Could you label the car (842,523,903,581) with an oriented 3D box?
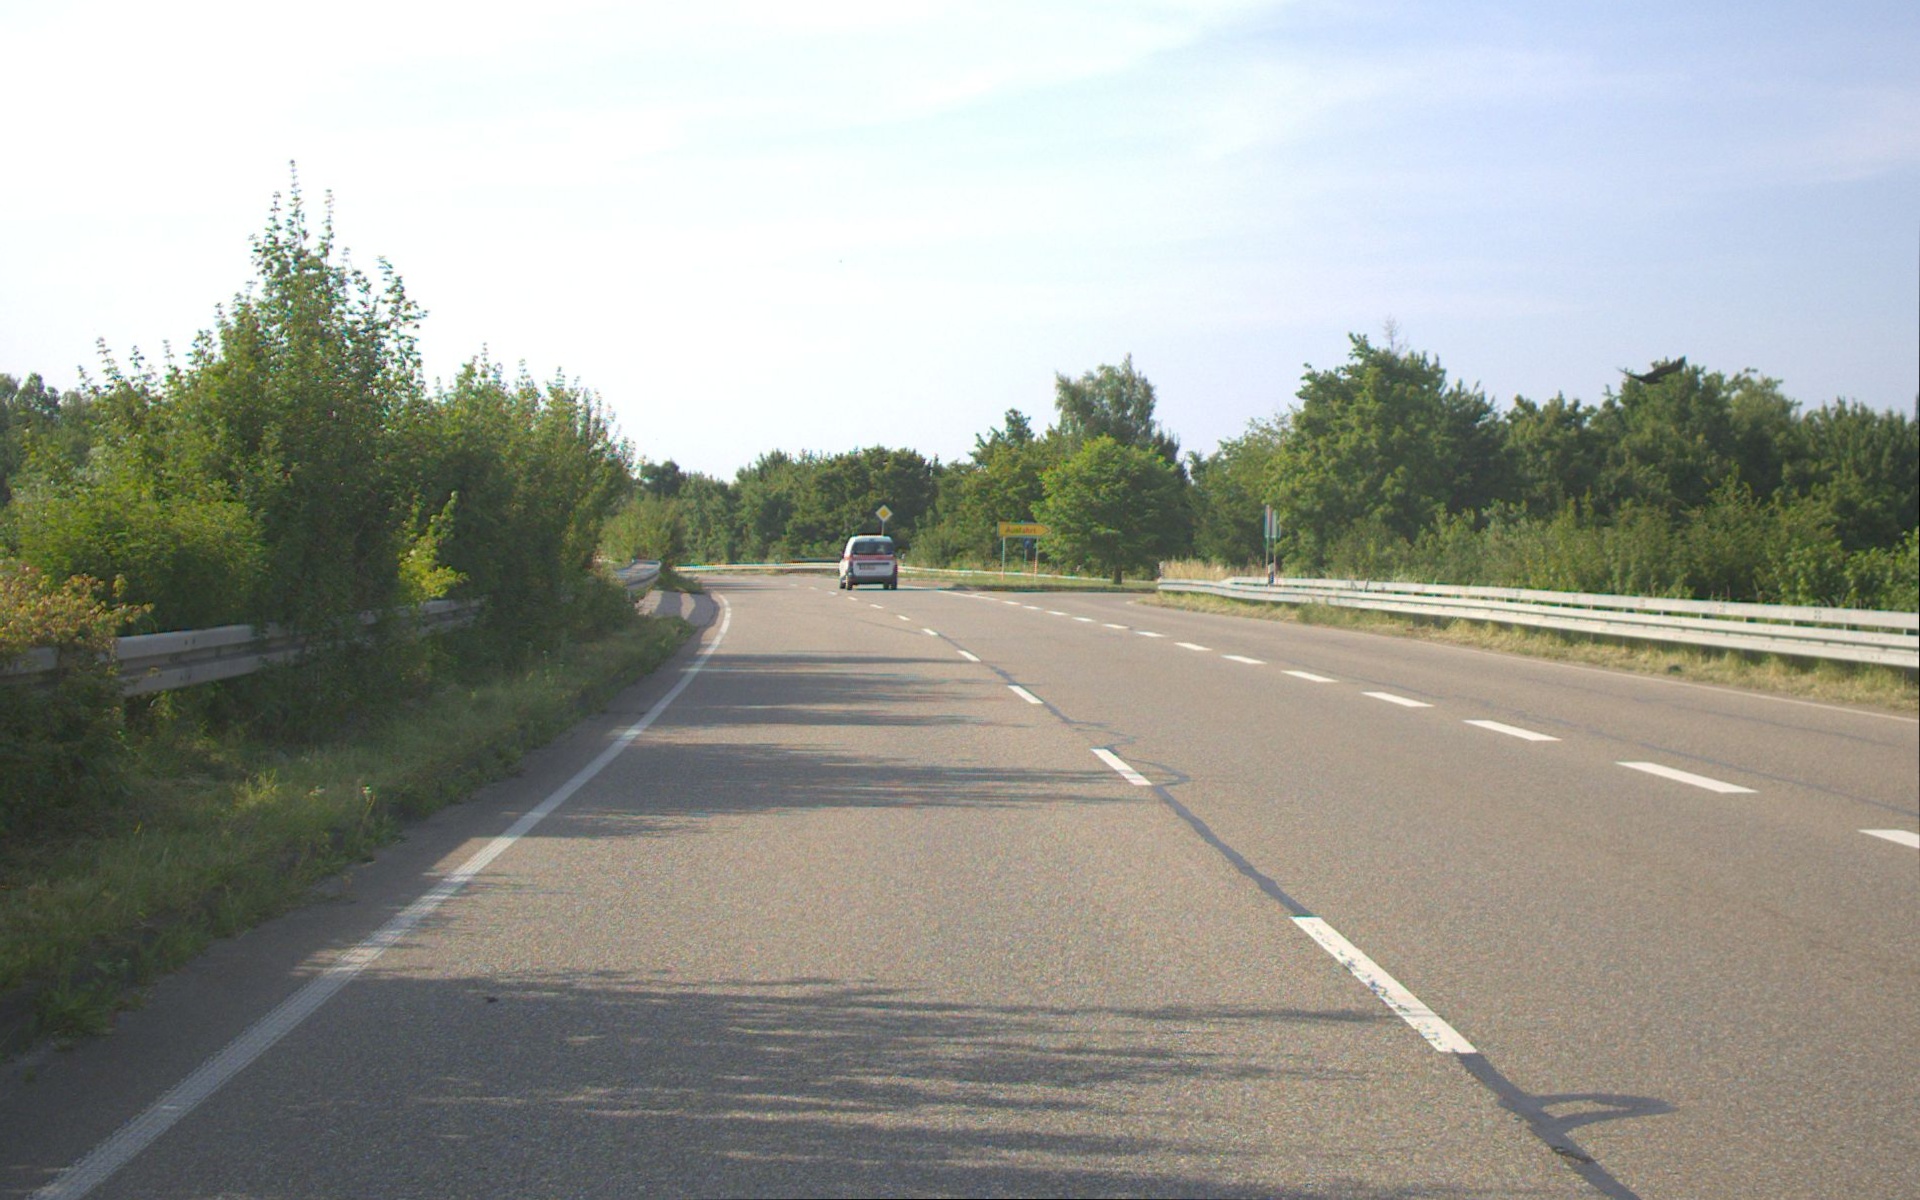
[{"bbox_3d":[-2.967,-1.601,115.694,1.765,1.875,4.001,0,0,-5],"label":"car"}]
